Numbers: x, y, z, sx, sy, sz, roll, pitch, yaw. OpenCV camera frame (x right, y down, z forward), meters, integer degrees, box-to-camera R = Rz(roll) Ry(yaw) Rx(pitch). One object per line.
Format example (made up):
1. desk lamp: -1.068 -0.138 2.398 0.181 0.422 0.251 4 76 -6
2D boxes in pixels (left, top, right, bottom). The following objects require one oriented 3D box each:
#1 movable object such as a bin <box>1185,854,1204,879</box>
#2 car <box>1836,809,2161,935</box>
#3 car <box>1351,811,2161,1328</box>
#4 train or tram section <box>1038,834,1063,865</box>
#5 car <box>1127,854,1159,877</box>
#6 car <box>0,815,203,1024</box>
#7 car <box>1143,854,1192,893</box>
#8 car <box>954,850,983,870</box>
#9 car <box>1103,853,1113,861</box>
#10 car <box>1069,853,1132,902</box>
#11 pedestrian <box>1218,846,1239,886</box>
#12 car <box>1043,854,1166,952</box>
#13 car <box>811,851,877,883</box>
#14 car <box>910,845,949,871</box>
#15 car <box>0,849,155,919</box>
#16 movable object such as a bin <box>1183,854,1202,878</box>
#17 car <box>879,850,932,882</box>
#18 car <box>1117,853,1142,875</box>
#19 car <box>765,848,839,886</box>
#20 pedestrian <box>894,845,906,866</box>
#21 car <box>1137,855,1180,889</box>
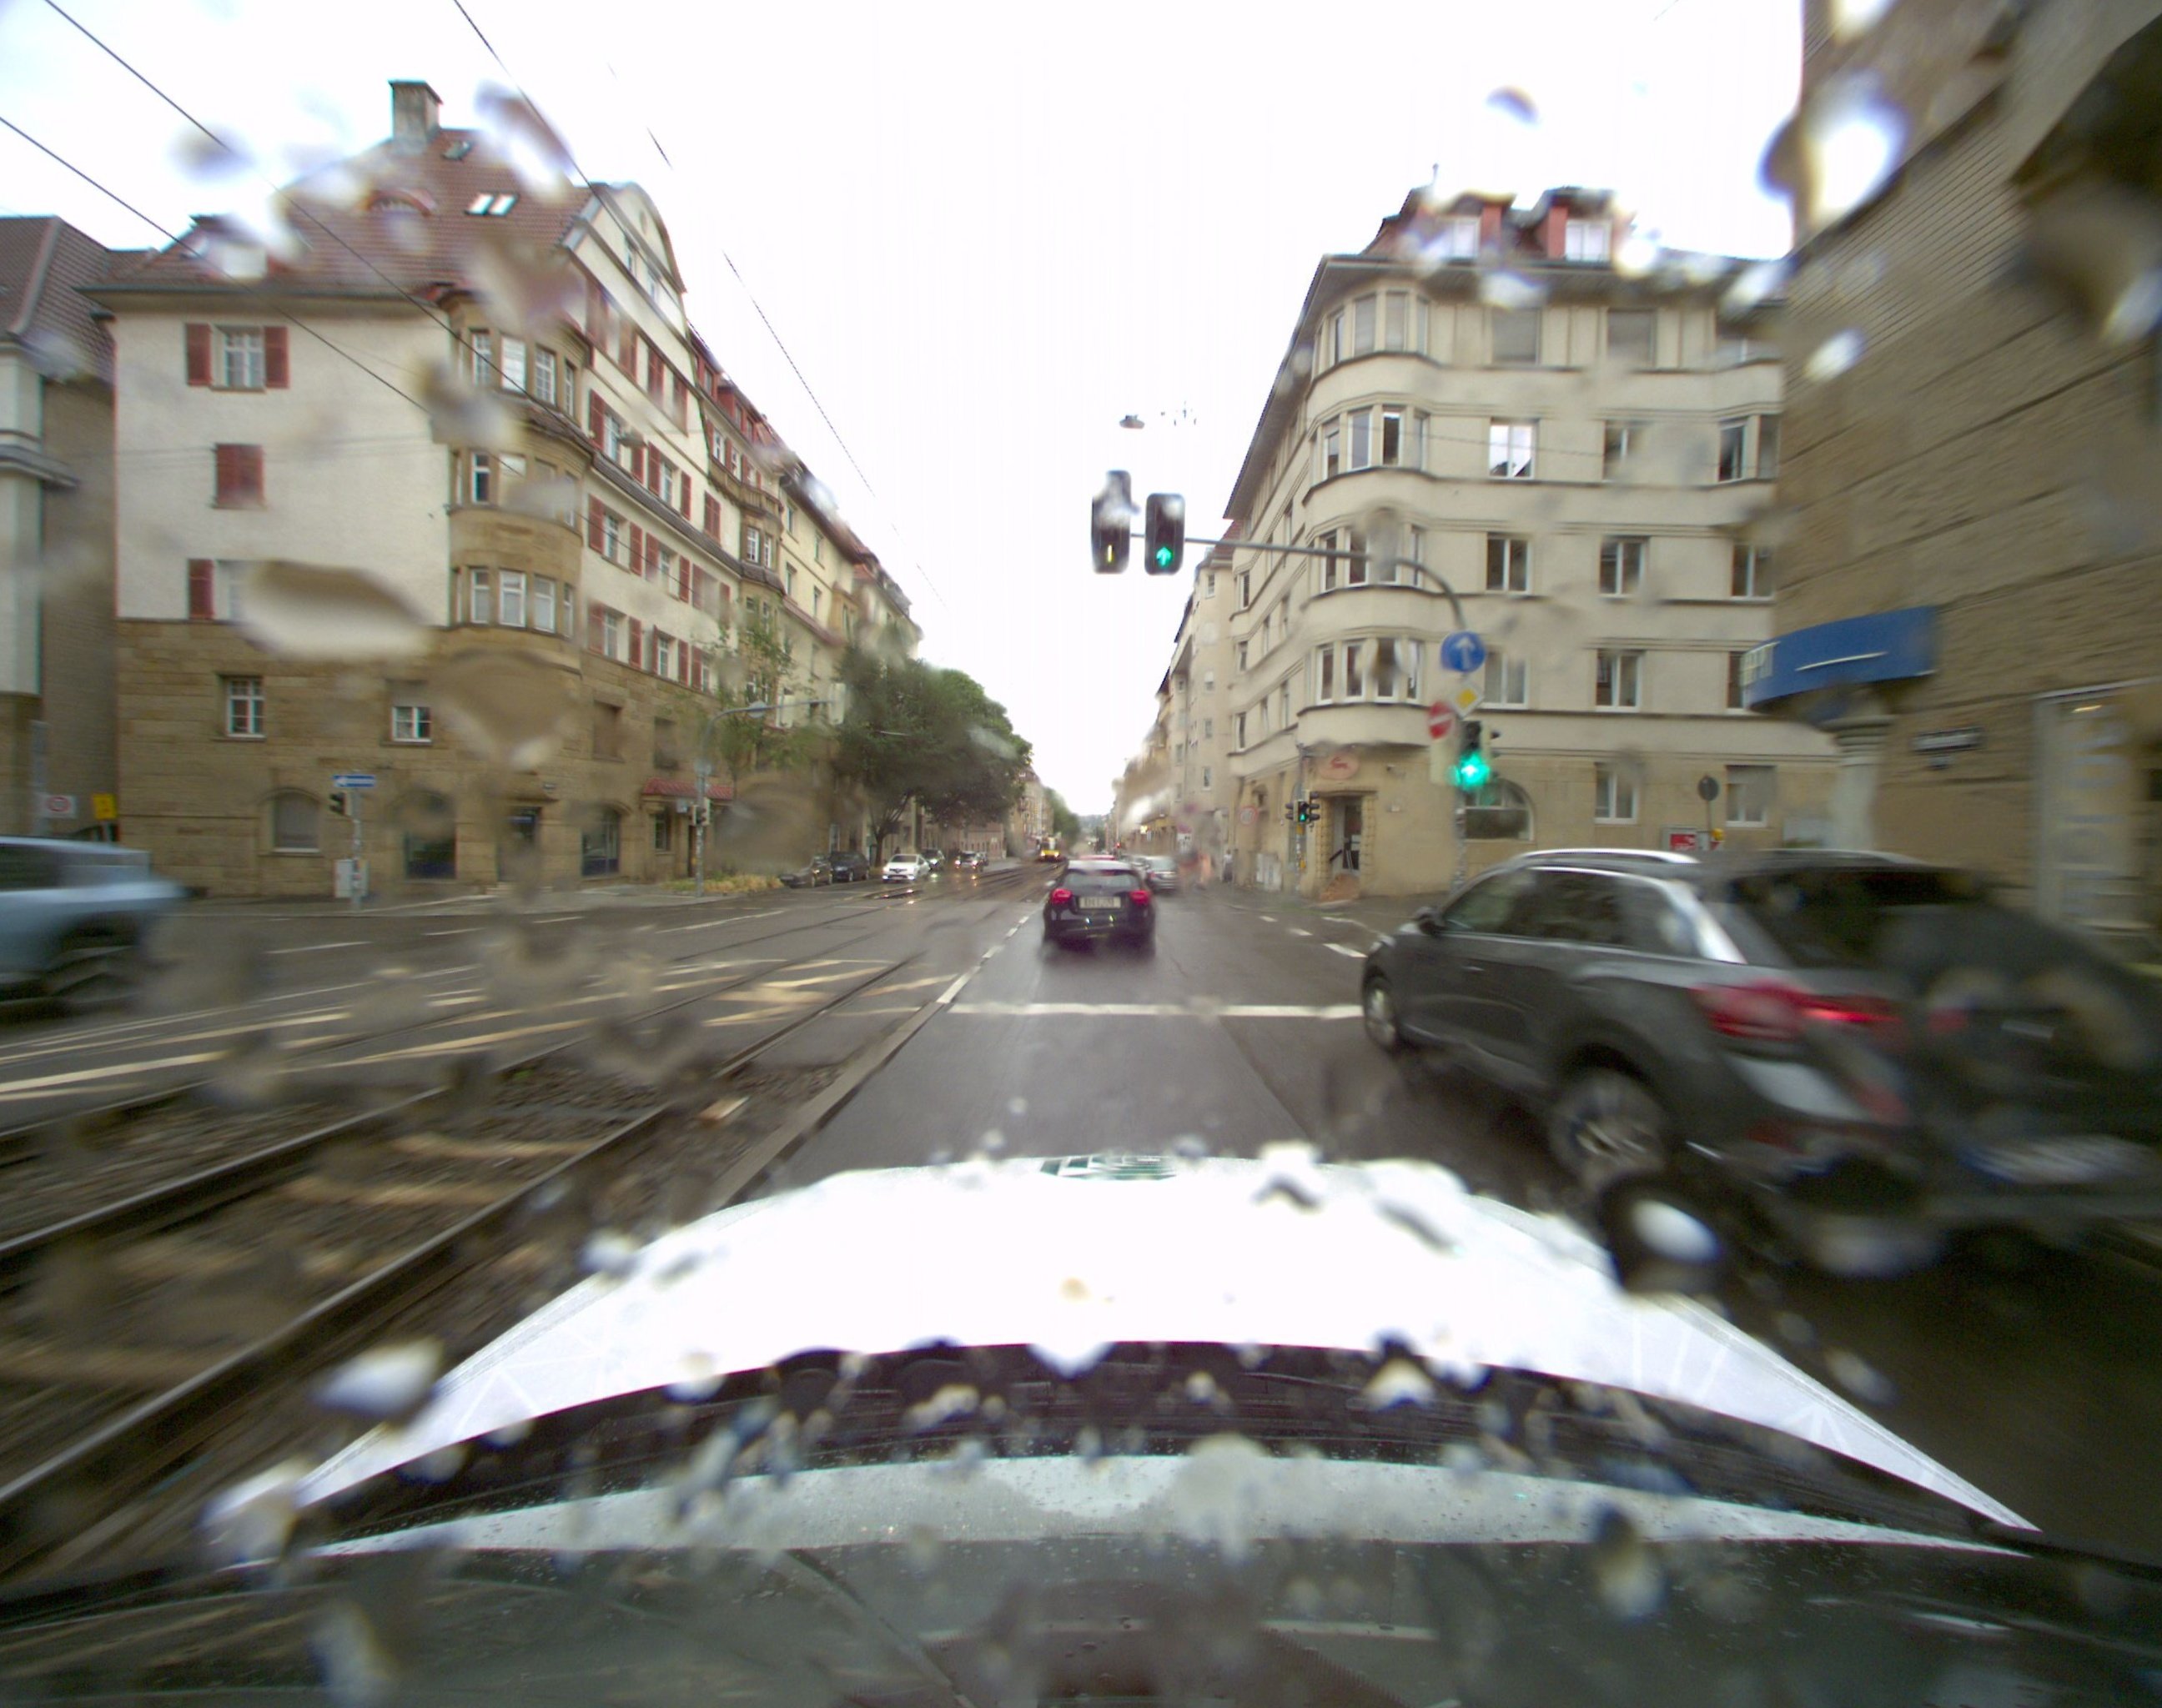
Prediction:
1. movable object such as a bin: 6.755 0.732 48.472 0.976 1.468 1.273 0 -1 1
2. car: 15.074 0.227 12.878 4.495 1.652 1.875 -3 1 0
3. car: 3.044 0.672 4.481 1.861 1.549 3.992 1 0 1
4. train or tram section: -4.195 -0.627 114.959 2.736 4.061 17.214 0 0 1
5. car: 3.819 0.721 50.726 1.783 1.385 4.395 0 -1 1
6. car: -9.332 0.495 5.672 1.915 1.617 4.127 0 -1 0
7. car: 3.351 0.749 32.296 1.704 1.410 4.820 0 -1 3
8. car: -8.468 0.447 61.330 1.648 1.463 3.733 -1 0 0
9. car: 5.323 0.625 162.261 1.879 1.525 4.249 1 0 3
10. car: 0.675 0.756 28.101 1.986 1.525 4.246 1 0 1
11. pedestrian: 6.376 0.523 35.220 0.801 1.687 0.754 0 -1 0
12. car: 0.405 0.751 14.162 1.828 1.453 3.903 0 0 1
13. car: -11.607 0.631 40.203 1.775 1.460 4.977 0 -1 0
14. car: -11.305 0.250 61.161 1.947 1.742 4.778 4 0 0
15. car: -24.938 0.679 19.090 3.977 1.574 1.998 0 -1 -3
16. movable object such as a bin: 6.812 0.753 49.967 1.014 1.468 1.323 0 -1 1
17. car: -8.735 0.604 40.773 1.775 1.503 4.061 0 -1 0
18. car: 3.767 0.762 63.321 1.833 1.608 4.764 0 -1 3
19. car: -11.771 0.557 34.649 1.684 1.529 4.174 0 -1 0
20. pedestrian: -14.533 0.112 65.310 0.726 1.663 0.771 1 0 0
21. car: 3.520 0.796 37.663 1.706 1.468 4.775 0 -1 2
